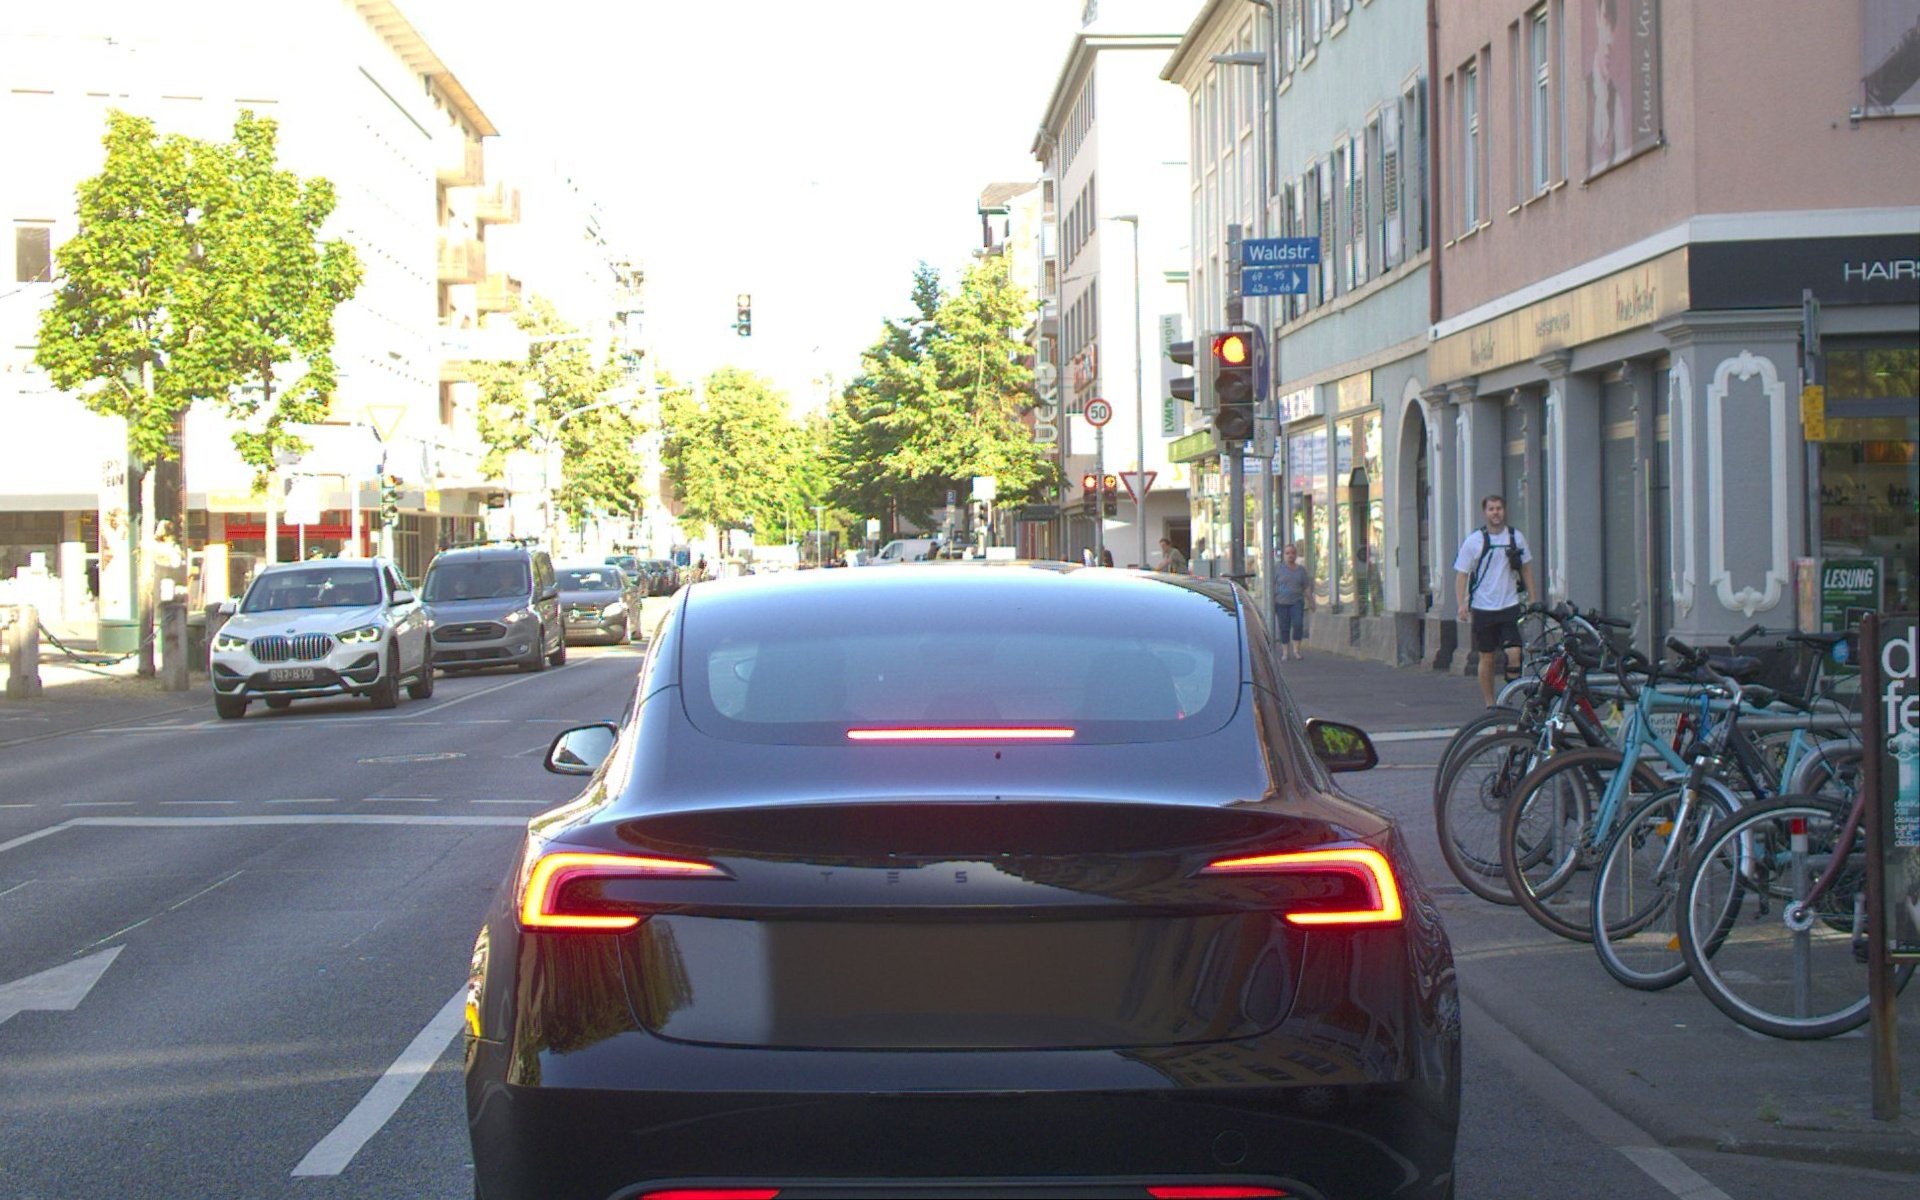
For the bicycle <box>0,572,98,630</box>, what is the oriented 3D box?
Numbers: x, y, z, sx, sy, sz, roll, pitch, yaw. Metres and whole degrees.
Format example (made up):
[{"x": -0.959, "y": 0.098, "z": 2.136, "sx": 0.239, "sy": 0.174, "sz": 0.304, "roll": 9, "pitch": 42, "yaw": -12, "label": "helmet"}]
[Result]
[{"x": -20.787, "y": 0.017, "z": 77.913, "sx": 2.361, "sy": 1.291, "sz": 0.513, "roll": 1, "pitch": 0, "yaw": -26, "label": "bicycle"}]

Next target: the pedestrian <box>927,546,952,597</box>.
[{"x": -0.581, "y": -0.782, "z": 95.232, "sx": 0.472, "sy": 1.412, "sz": 0.522, "roll": 1, "pitch": 0, "yaw": -31, "label": "pedestrian"}]

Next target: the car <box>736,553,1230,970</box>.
[{"x": 0.012, "y": 0.534, "z": 13.821, "sx": 1.718, "sy": 1.420, "sz": 3.758, "roll": 0, "pitch": 1, "yaw": -2, "label": "car"}]

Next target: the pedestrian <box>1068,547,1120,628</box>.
[{"x": 2.705, "y": -0.260, "z": 69.505, "sx": 0.754, "sy": 1.626, "sz": 0.956, "roll": 1, "pitch": 0, "yaw": -18, "label": "pedestrian"}]

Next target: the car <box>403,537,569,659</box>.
[{"x": -6.630, "y": -0.062, "z": 48.489, "sx": 1.787, "sy": 1.640, "sz": 4.403, "roll": 0, "pitch": 1, "yaw": -1, "label": "car"}]

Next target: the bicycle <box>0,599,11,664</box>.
[{"x": -14.789, "y": 0.448, "z": 49.866, "sx": 1.864, "sy": 0.931, "sz": 0.606, "roll": 1, "pitch": 0, "yaw": -1, "label": "bicycle"}]

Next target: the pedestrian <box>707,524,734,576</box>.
[{"x": -7.830, "y": -1.632, "z": 112.430, "sx": 0.848, "sy": 1.689, "sz": 0.718, "roll": 0, "pitch": 1, "yaw": -3, "label": "pedestrian"}]

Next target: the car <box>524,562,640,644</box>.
[{"x": -6.863, "y": 0.036, "z": 62.751, "sx": 1.715, "sy": 1.441, "sz": 3.845, "roll": 1, "pitch": 1, "yaw": -1, "label": "car"}]

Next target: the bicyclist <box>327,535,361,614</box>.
[{"x": -11.844, "y": -0.487, "z": 66.090, "sx": 0.522, "sy": 1.498, "sz": 0.476, "roll": 1, "pitch": 0, "yaw": -23, "label": "bicyclist"}]

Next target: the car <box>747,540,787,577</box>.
[{"x": -10.484, "y": -2.269, "z": 187.112, "sx": 1.993, "sy": 2.007, "sz": 4.000, "roll": 0, "pitch": 1, "yaw": -1, "label": "car"}]

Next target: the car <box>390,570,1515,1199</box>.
[{"x": -0.034, "y": 0.657, "z": 7.577, "sx": 1.822, "sy": 1.437, "sz": 4.000, "roll": 0, "pitch": 1, "yaw": -1, "label": "car"}]

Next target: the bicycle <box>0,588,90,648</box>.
[{"x": -14.834, "y": 0.285, "z": 54.618, "sx": 1.864, "sy": 0.931, "sz": 0.606, "roll": 0, "pitch": 1, "yaw": -1, "label": "bicycle"}]

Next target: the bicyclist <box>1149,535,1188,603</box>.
[{"x": 4.329, "y": -0.639, "z": 71.345, "sx": 0.669, "sy": 1.390, "sz": 0.462, "roll": 1, "pitch": 0, "yaw": -16, "label": "bicyclist"}]

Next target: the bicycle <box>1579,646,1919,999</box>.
[{"x": 2.994, "y": 0.702, "z": 11.152, "sx": 1.873, "sy": 1.084, "sz": 0.414, "roll": -2, "pitch": 0, "yaw": 4, "label": "bicycle"}]

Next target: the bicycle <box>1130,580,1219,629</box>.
[{"x": 4.458, "y": 0.095, "z": 71.383, "sx": 1.784, "sy": 1.003, "sz": 0.472, "roll": 1, "pitch": 0, "yaw": -16, "label": "bicycle"}]

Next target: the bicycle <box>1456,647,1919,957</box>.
[{"x": 2.777, "y": 0.719, "z": 12.445, "sx": 1.873, "sy": 1.034, "sz": 0.533, "roll": -2, "pitch": 0, "yaw": 4, "label": "bicycle"}]

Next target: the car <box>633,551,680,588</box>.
[{"x": -12.898, "y": -1.314, "z": 146.309, "sx": 1.706, "sy": 1.546, "sz": 3.697, "roll": 0, "pitch": 1, "yaw": -1, "label": "car"}]

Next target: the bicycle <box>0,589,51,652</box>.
[{"x": -14.806, "y": 0.310, "z": 52.169, "sx": 1.864, "sy": 0.931, "sz": 0.606, "roll": 0, "pitch": 1, "yaw": -1, "label": "bicycle"}]

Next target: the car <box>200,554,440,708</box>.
[{"x": -6.656, "y": 0.291, "z": 36.126, "sx": 1.789, "sy": 1.455, "sz": 3.757, "roll": -2, "pitch": 1, "yaw": 0, "label": "car"}]

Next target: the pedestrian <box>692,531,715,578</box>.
[{"x": -10.999, "y": -1.947, "z": 147.590, "sx": 0.919, "sy": 2.007, "sz": 0.933, "roll": 0, "pitch": 1, "yaw": -1, "label": "pedestrian"}]

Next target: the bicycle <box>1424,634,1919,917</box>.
[{"x": 2.815, "y": 0.688, "z": 13.636, "sx": 1.873, "sy": 1.034, "sz": 0.547, "roll": -2, "pitch": 0, "yaw": 5, "label": "bicycle"}]

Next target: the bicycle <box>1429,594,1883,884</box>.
[{"x": 2.965, "y": 0.591, "z": 14.755, "sx": 1.828, "sy": 1.165, "sz": 0.505, "roll": -2, "pitch": 0, "yaw": 5, "label": "bicycle"}]

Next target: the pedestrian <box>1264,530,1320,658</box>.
[{"x": 4.517, "y": -0.089, "z": 46.823, "sx": 0.706, "sy": 1.736, "sz": 0.540, "roll": 0, "pitch": 1, "yaw": -1, "label": "pedestrian"}]

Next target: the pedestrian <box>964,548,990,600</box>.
[{"x": 0.470, "y": -0.728, "z": 95.450, "sx": 0.521, "sy": 1.417, "sz": 0.479, "roll": 1, "pitch": 0, "yaw": -30, "label": "pedestrian"}]

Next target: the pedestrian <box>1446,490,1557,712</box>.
[{"x": 4.413, "y": 0.008, "z": 28.075, "sx": 0.750, "sy": 1.759, "sz": 0.836, "roll": -2, "pitch": 0, "yaw": 4, "label": "pedestrian"}]

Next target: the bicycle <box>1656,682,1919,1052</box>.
[{"x": 3.009, "y": 0.755, "z": 9.989, "sx": 1.873, "sy": 1.034, "sz": 0.353, "roll": -2, "pitch": 0, "yaw": 6, "label": "bicycle"}]

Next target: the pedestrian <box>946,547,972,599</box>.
[{"x": -0.017, "y": -0.735, "z": 94.559, "sx": 0.521, "sy": 1.417, "sz": 0.479, "roll": 1, "pitch": 0, "yaw": -30, "label": "pedestrian"}]
